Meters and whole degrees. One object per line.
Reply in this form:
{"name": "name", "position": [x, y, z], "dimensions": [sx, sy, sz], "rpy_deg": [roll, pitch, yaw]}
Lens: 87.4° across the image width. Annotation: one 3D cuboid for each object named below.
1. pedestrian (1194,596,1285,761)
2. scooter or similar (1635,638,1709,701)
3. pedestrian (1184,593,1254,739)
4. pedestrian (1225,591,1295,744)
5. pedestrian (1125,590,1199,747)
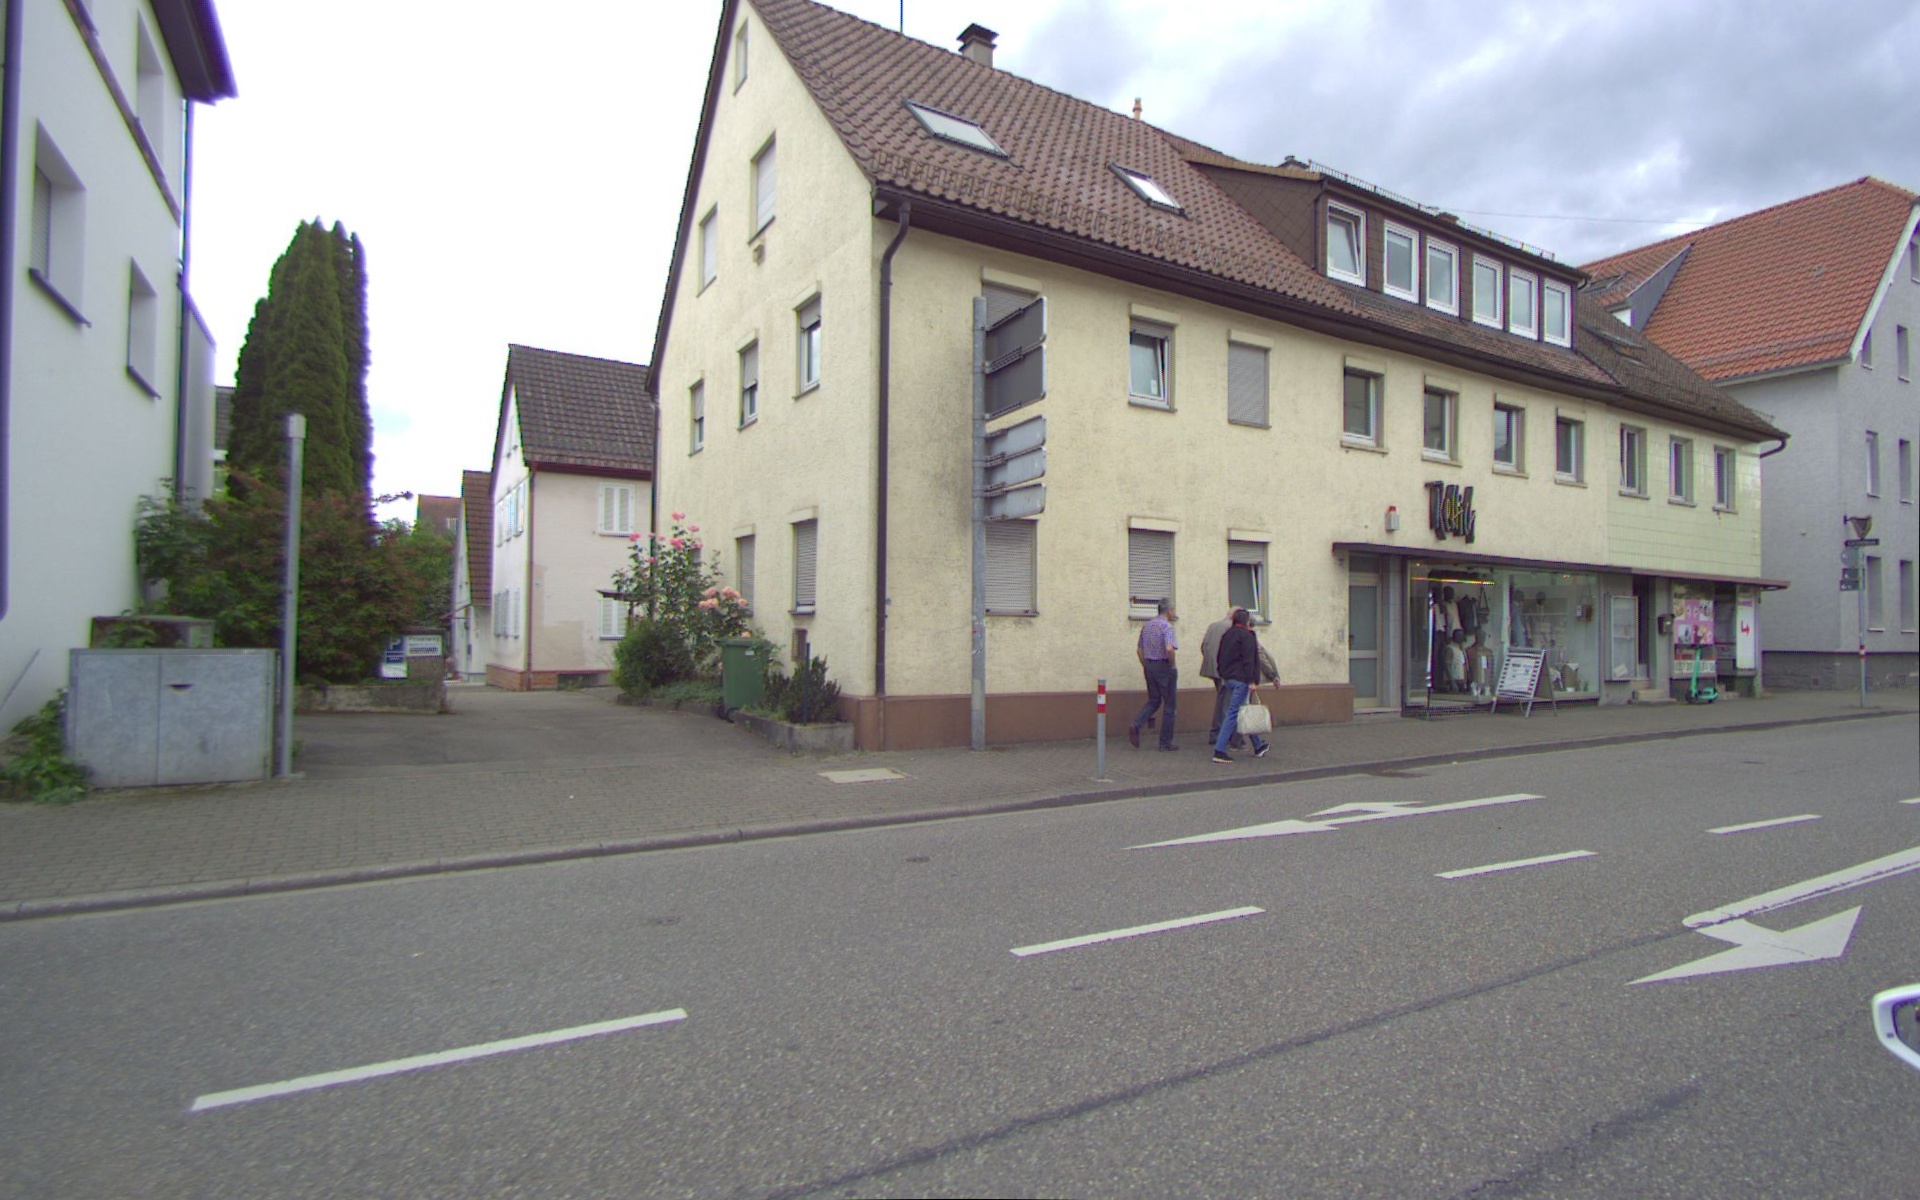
{"name": "pedestrian", "position": [3.118, 0.851, 11.209], "dimensions": [0.709, 1.760, 0.674], "rpy_deg": [1, -1, -30]}
{"name": "scooter or similar", "position": [14.112, 1.362, 19.888], "dimensions": [1.701, 1.185, 0.525], "rpy_deg": [2, 0, -30]}
{"name": "pedestrian", "position": [3.237, 0.810, 12.539], "dimensions": [0.640, 1.760, 0.551], "rpy_deg": [1, -1, -30]}
{"name": "pedestrian", "position": [3.579, 0.787, 11.987], "dimensions": [0.640, 1.760, 0.494], "rpy_deg": [1, -1, -30]}
{"name": "pedestrian", "position": [2.345, 0.781, 11.690], "dimensions": [0.640, 1.760, 0.551], "rpy_deg": [1, -1, -30]}
